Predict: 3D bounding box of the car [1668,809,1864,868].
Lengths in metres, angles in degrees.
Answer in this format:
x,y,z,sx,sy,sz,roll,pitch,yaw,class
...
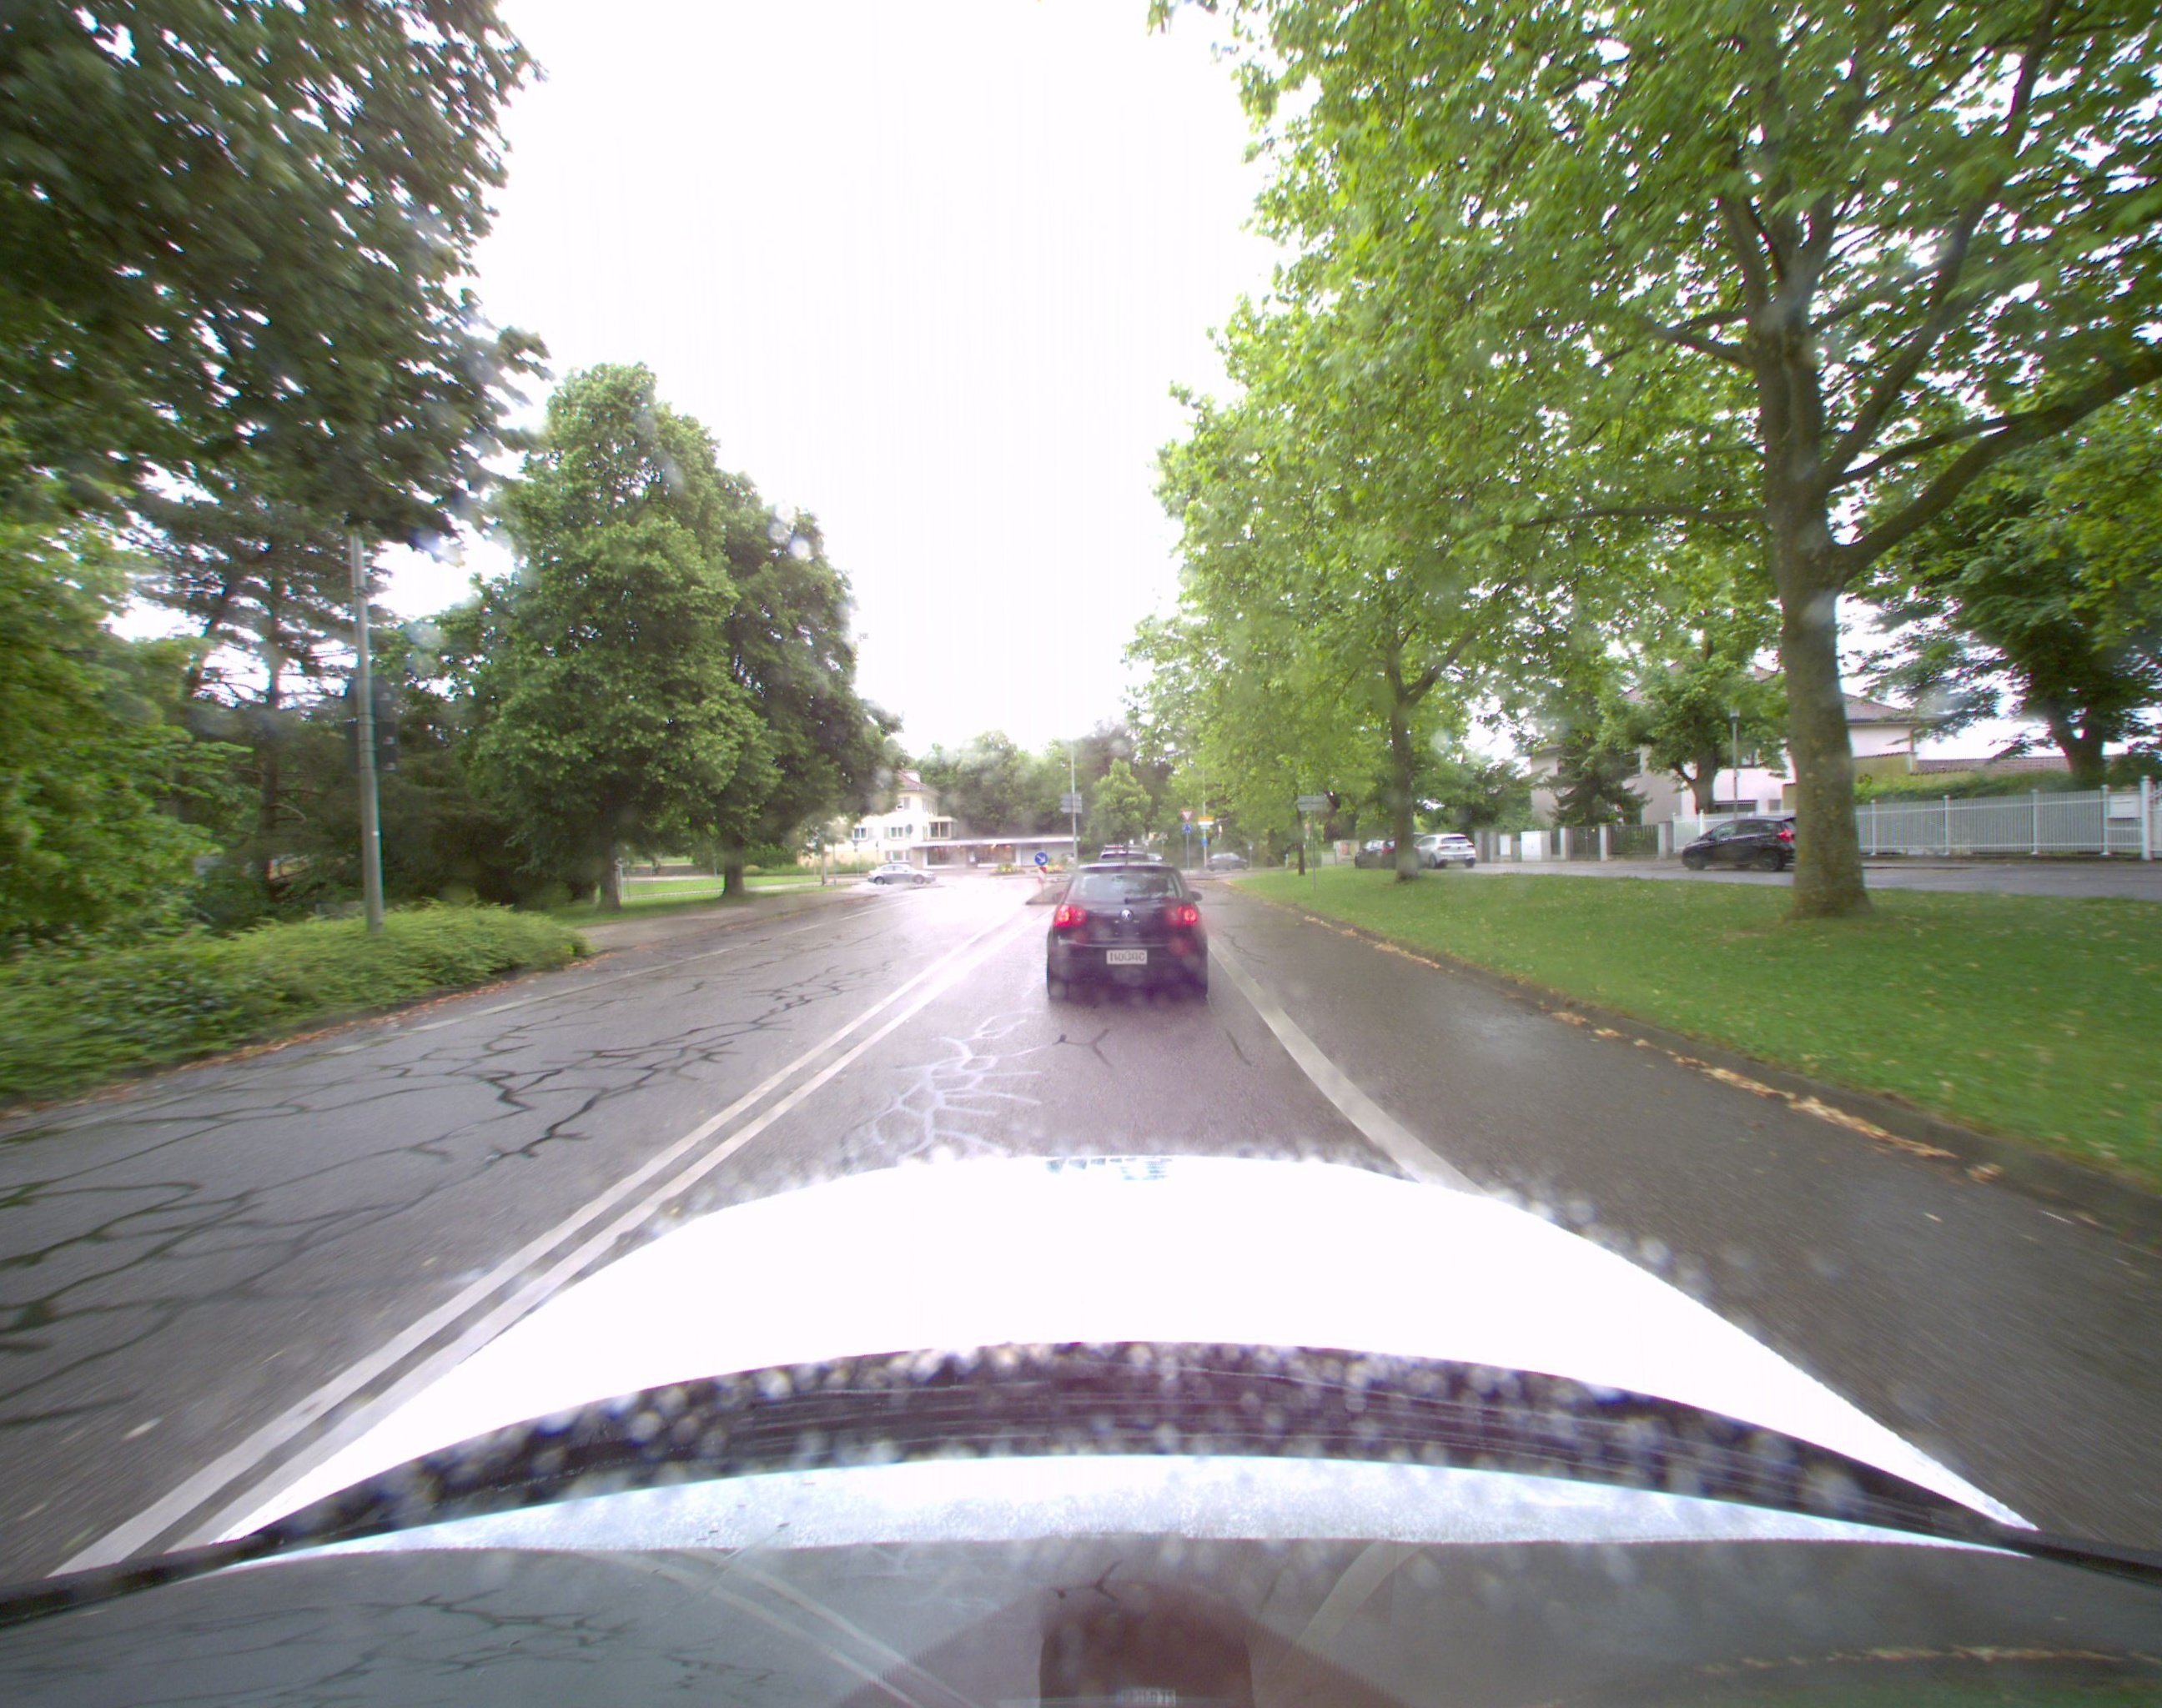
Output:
x,y,z,sx,sy,sz,roll,pitch,yaw,class
19.115,-0.383,23.034,1.755,1.471,4.353,-1,0,-2,car

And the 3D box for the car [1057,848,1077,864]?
x,y,z,sx,sy,sz,roll,pitch,yaw,class
-1.444,0.206,84.917,1.809,1.486,3.825,-3,0,-4,car

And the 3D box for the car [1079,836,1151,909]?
x,y,z,sx,sy,sz,roll,pitch,yaw,class
0.914,0.492,23.022,1.758,1.801,4.247,-3,-1,1,car

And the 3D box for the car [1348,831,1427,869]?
x,y,z,sx,sy,sz,roll,pitch,yaw,class
13.465,-0.147,36.071,1.758,1.471,4.599,-4,-1,1,car

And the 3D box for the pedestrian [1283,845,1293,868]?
x,y,z,sx,sy,sz,roll,pitch,yaw,class
15.743,0.170,61.909,0.528,1.713,0.633,0,-1,-12,pedestrian

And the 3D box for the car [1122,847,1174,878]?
x,y,z,sx,sy,sz,roll,pitch,yaw,class
4.060,0.500,48.882,1.976,1.741,4.165,0,-1,21,car

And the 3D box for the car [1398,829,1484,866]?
x,y,z,sx,sy,sz,roll,pitch,yaw,class
15.920,-0.256,36.279,1.839,1.471,4.425,-3,0,0,car

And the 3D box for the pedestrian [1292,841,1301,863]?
x,y,z,sx,sy,sz,roll,pitch,yaw,class
16.535,-0.136,62.608,0.629,1.713,0.532,0,-1,18,pedestrian

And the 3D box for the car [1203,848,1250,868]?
x,y,z,sx,sy,sz,roll,pitch,yaw,class
11.257,0.308,62.833,1.974,1.530,4.025,-1,-1,36,car

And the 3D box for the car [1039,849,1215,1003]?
x,y,z,sx,sy,sz,roll,pitch,yaw,class
0.507,0.741,10.190,1.758,1.538,4.001,0,0,1,car

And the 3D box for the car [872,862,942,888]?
x,y,z,sx,sy,sz,roll,pitch,yaw,class
-11.416,1.382,53.483,3.996,1.684,2.005,0,-1,8,car
